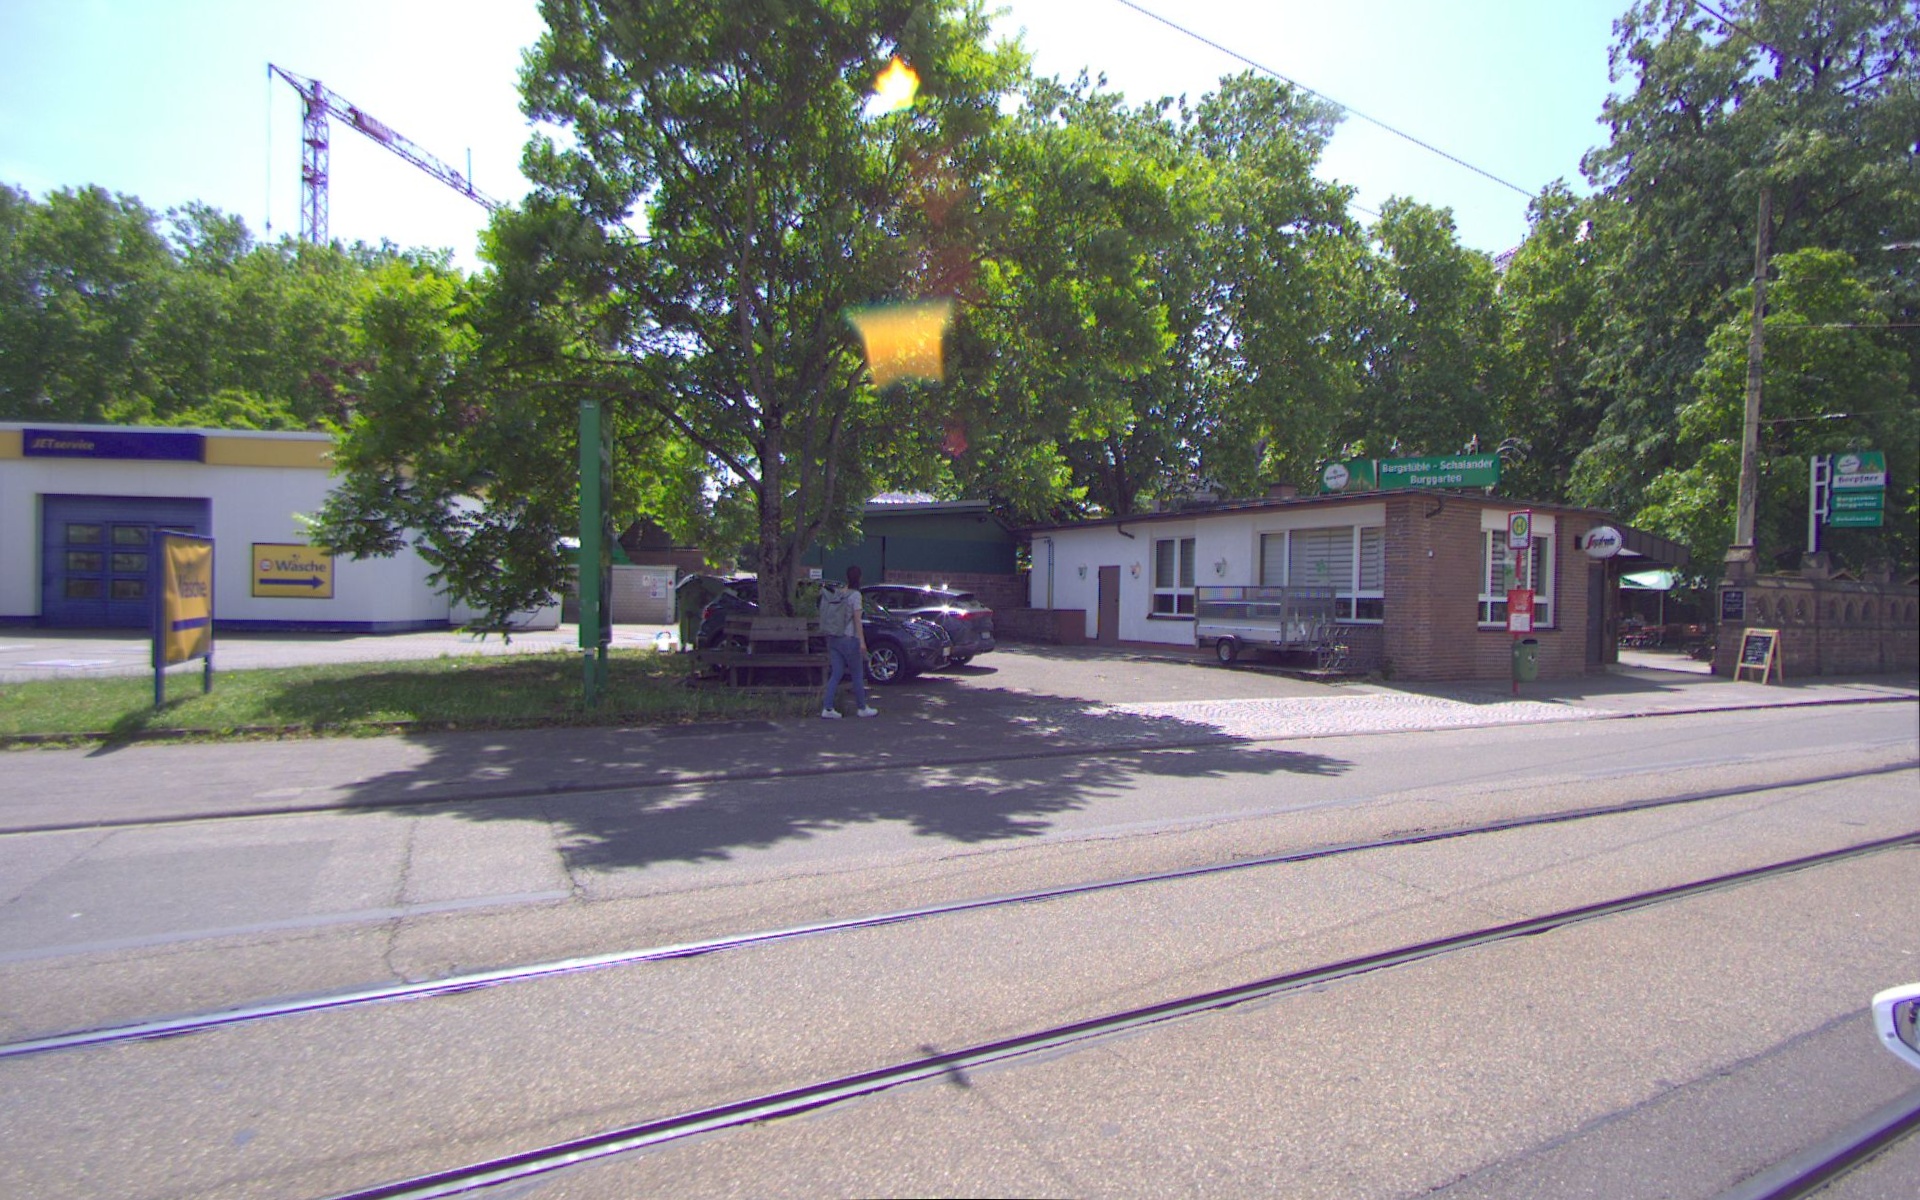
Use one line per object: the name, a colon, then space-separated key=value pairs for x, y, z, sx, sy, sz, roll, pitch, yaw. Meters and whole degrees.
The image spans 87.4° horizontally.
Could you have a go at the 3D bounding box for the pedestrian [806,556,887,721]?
pedestrian: x=-1.295 y=0.419 z=11.408 sx=0.692 sy=1.799 sz=0.576 roll=1 pitch=2 yaw=-32

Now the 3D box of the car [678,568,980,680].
car: x=-2.026 y=0.321 z=16.057 sx=4.361 sy=1.508 sz=1.936 roll=2 pitch=2 yaw=11

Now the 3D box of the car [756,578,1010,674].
car: x=-1.428 y=0.422 z=18.977 sx=4.362 sy=1.508 sz=1.935 roll=2 pitch=2 yaw=18

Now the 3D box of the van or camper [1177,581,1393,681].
van or camper: x=6.188 y=0.516 z=19.545 sx=1.848 sy=1.651 sz=3.768 roll=0 pitch=2 yaw=-28

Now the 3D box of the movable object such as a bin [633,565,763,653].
movable object such as a bin: x=-4.864 y=0.145 z=18.838 sx=2.059 sy=1.530 sz=1.525 roll=2 pitch=2 yaw=-4

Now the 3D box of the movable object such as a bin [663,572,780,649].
movable object such as a bin: x=-4.803 y=0.192 z=20.442 sx=2.059 sy=1.451 sz=1.525 roll=2 pitch=2 yaw=-4
